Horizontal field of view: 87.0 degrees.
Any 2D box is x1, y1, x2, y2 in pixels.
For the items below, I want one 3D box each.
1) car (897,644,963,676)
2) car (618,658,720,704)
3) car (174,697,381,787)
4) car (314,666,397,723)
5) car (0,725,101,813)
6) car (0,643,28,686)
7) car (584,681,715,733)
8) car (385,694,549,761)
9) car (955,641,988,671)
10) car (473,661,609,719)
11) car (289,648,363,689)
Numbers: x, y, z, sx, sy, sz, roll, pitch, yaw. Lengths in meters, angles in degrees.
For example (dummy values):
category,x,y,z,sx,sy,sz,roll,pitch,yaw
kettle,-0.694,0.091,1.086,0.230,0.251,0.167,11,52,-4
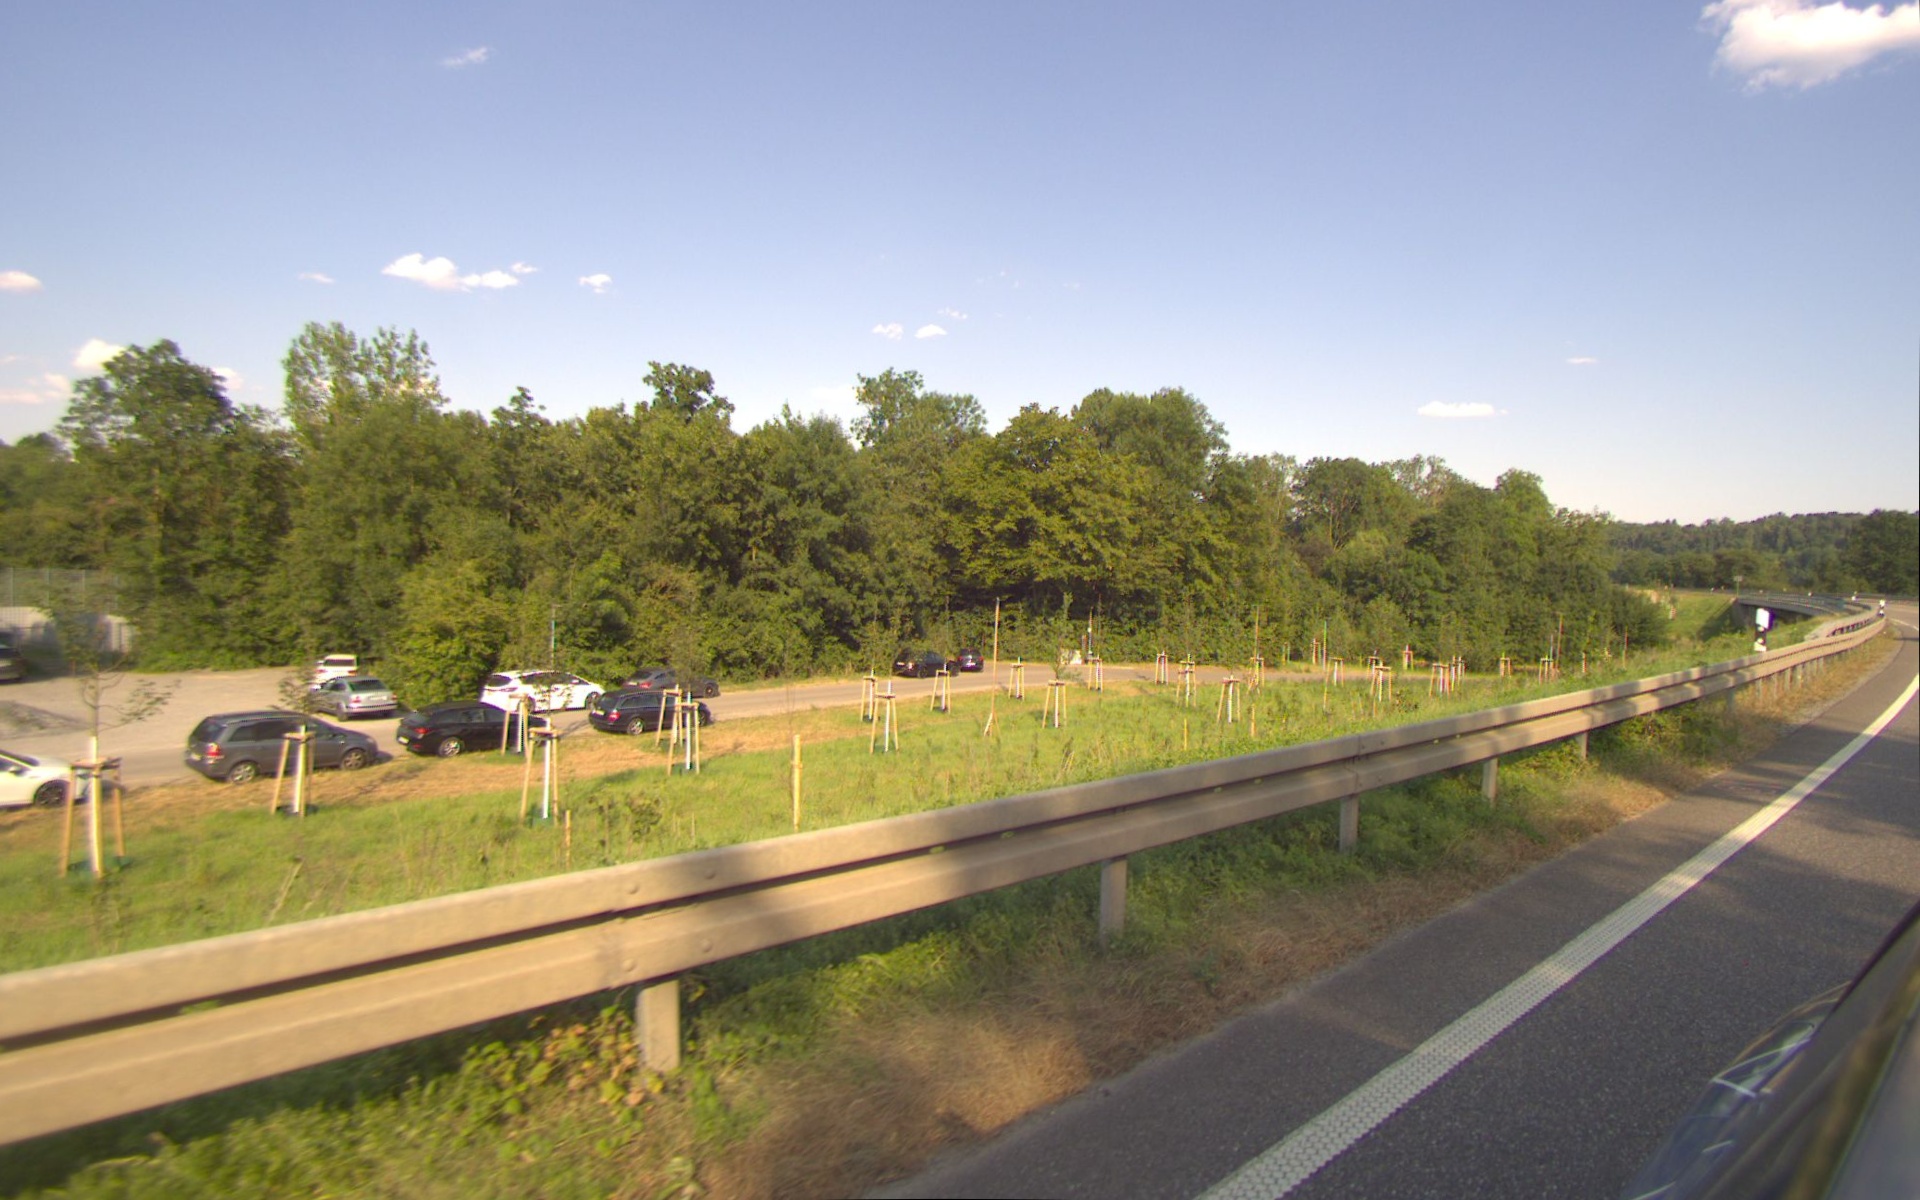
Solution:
category,x,y,z,sx,sy,sz,roll,pitch,yaw
car,-1.696,3.413,58.219,1.654,1.515,3.771,2,2,42
car,-12.451,3.424,43.509,1.648,1.515,4.173,1,2,33
car,-18.098,3.692,27.027,1.810,1.679,4.209,3,1,31
car,-21.725,3.337,36.317,1.591,1.474,4.235,-1,3,-45
car,-21.467,3.747,21.755,1.810,1.501,4.209,3,1,31
car,-41.456,2.665,42.967,4.212,1.474,1.600,5,2,30
car,-11.079,3.777,36.228,4.145,1.515,1.659,1,0,-38
car,-15.077,3.844,31.166,1.810,1.419,4.209,3,1,31
car,0.687,3.450,62.782,1.626,1.515,3.690,0,2,-6
car,-15.973,3.376,38.784,1.650,1.687,4.647,2,2,36
car,-28.218,3.013,44.981,4.230,1.474,1.687,2,0,42
